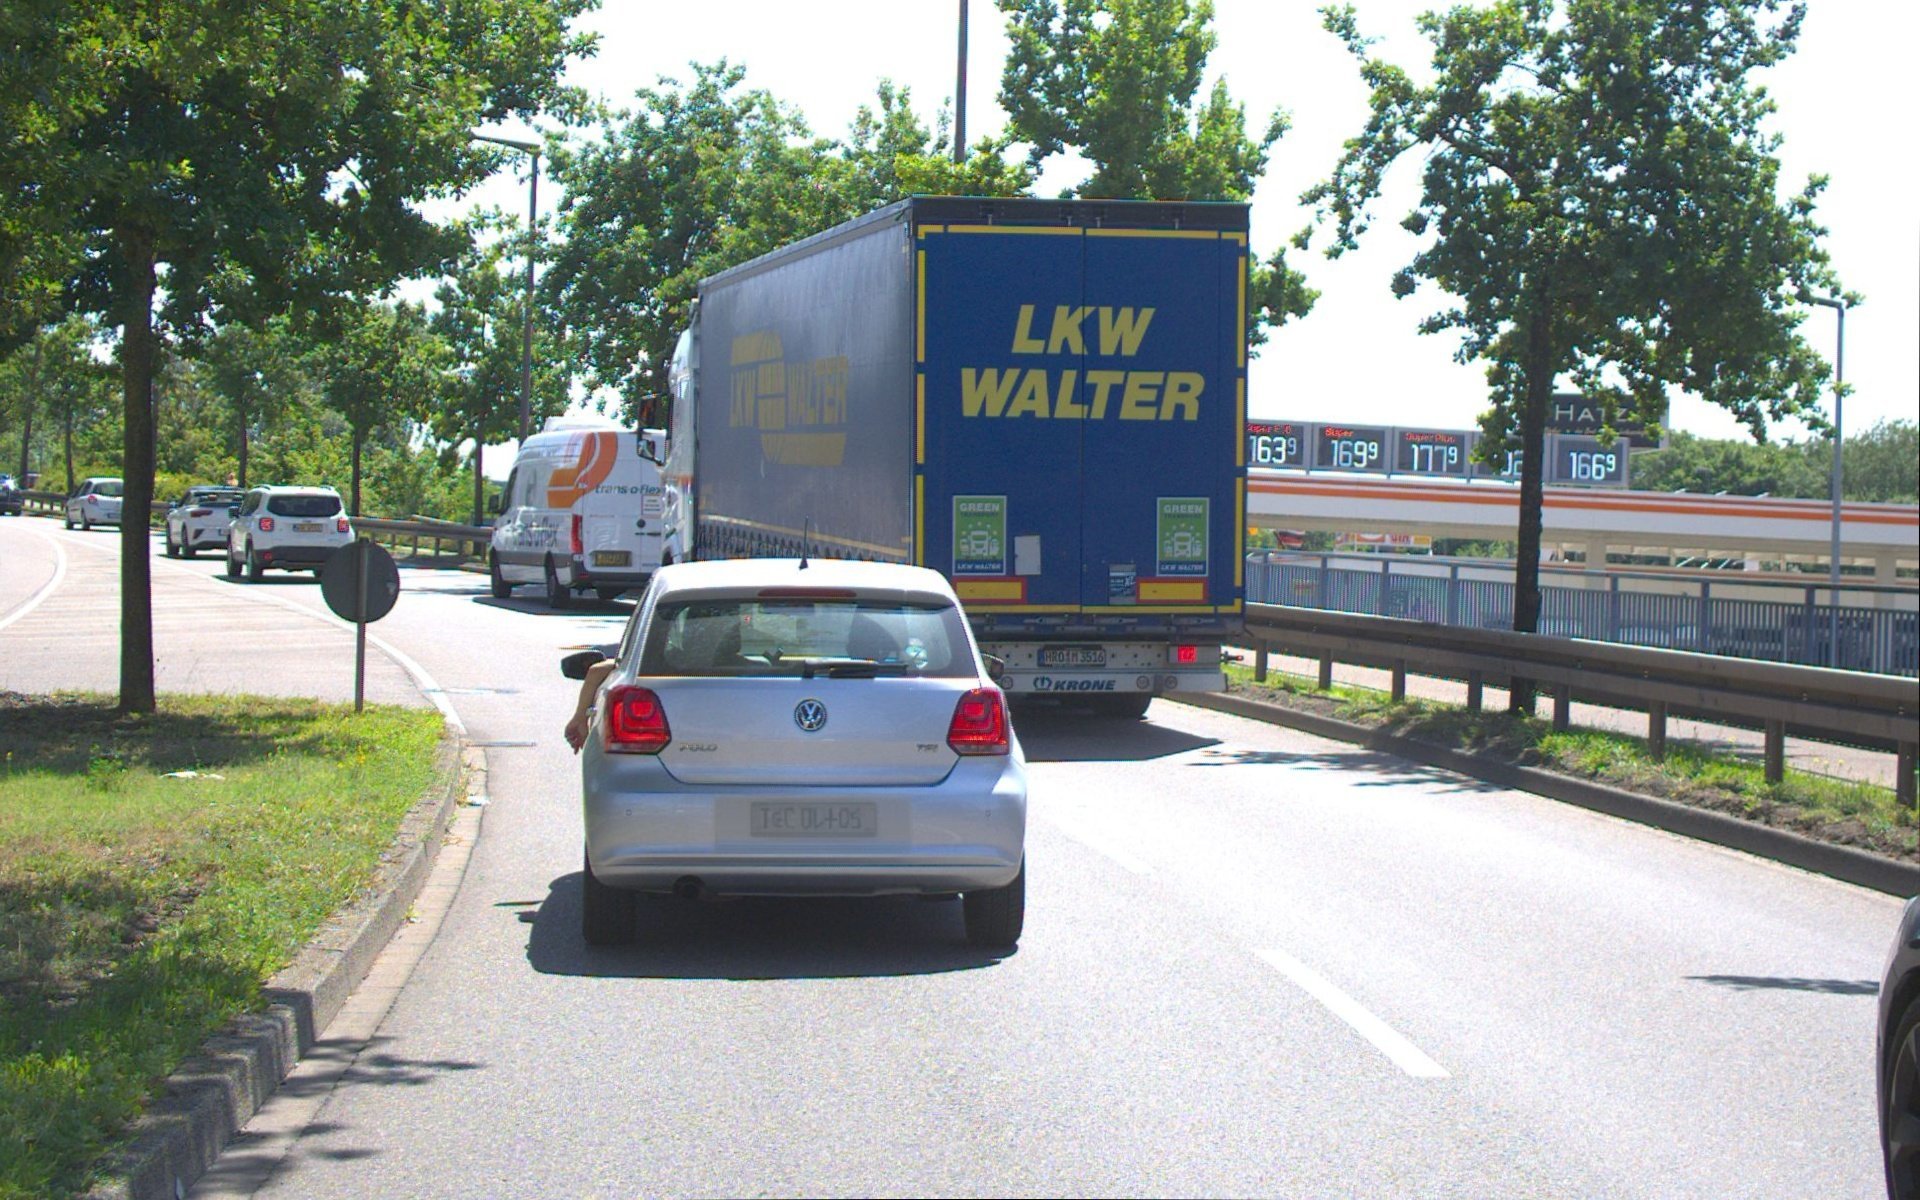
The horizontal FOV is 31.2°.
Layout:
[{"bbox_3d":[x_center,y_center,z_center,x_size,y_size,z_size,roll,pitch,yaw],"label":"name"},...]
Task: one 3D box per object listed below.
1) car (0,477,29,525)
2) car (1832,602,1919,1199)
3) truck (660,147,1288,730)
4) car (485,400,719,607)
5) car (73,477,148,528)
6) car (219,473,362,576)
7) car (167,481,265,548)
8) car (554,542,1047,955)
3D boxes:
[{"bbox_3d":[-31.718,-3.276,113.808,1.664,1.460,3.582,2,0,-16],"label":"car"},{"bbox_3d":[2.837,0.756,5.415,1.604,1.451,4.236,2,0,-3],"label":"car"},{"bbox_3d":[-0.578,-1.312,33.335,2.832,4.184,16.479,1,1,-11],"label":"truck"},{"bbox_3d":[-5.539,-1.492,52.325,2.175,2.890,6.360,1,2,-18],"label":"car"},{"bbox_3d":[-23.586,-2.701,95.405,1.607,1.355,3.664,1,1,-20],"label":"car"},{"bbox_3d":[-11.953,-1.315,61.221,1.903,1.712,4.225,2,0,-19],"label":"car"},{"bbox_3d":[-15.995,-1.835,73.856,1.494,1.355,3.664,1,1,-21],"label":"car"},{"bbox_3d":[-0.767,0.526,13.962,1.645,1.434,3.538,2,0,-8],"label":"car"}]
